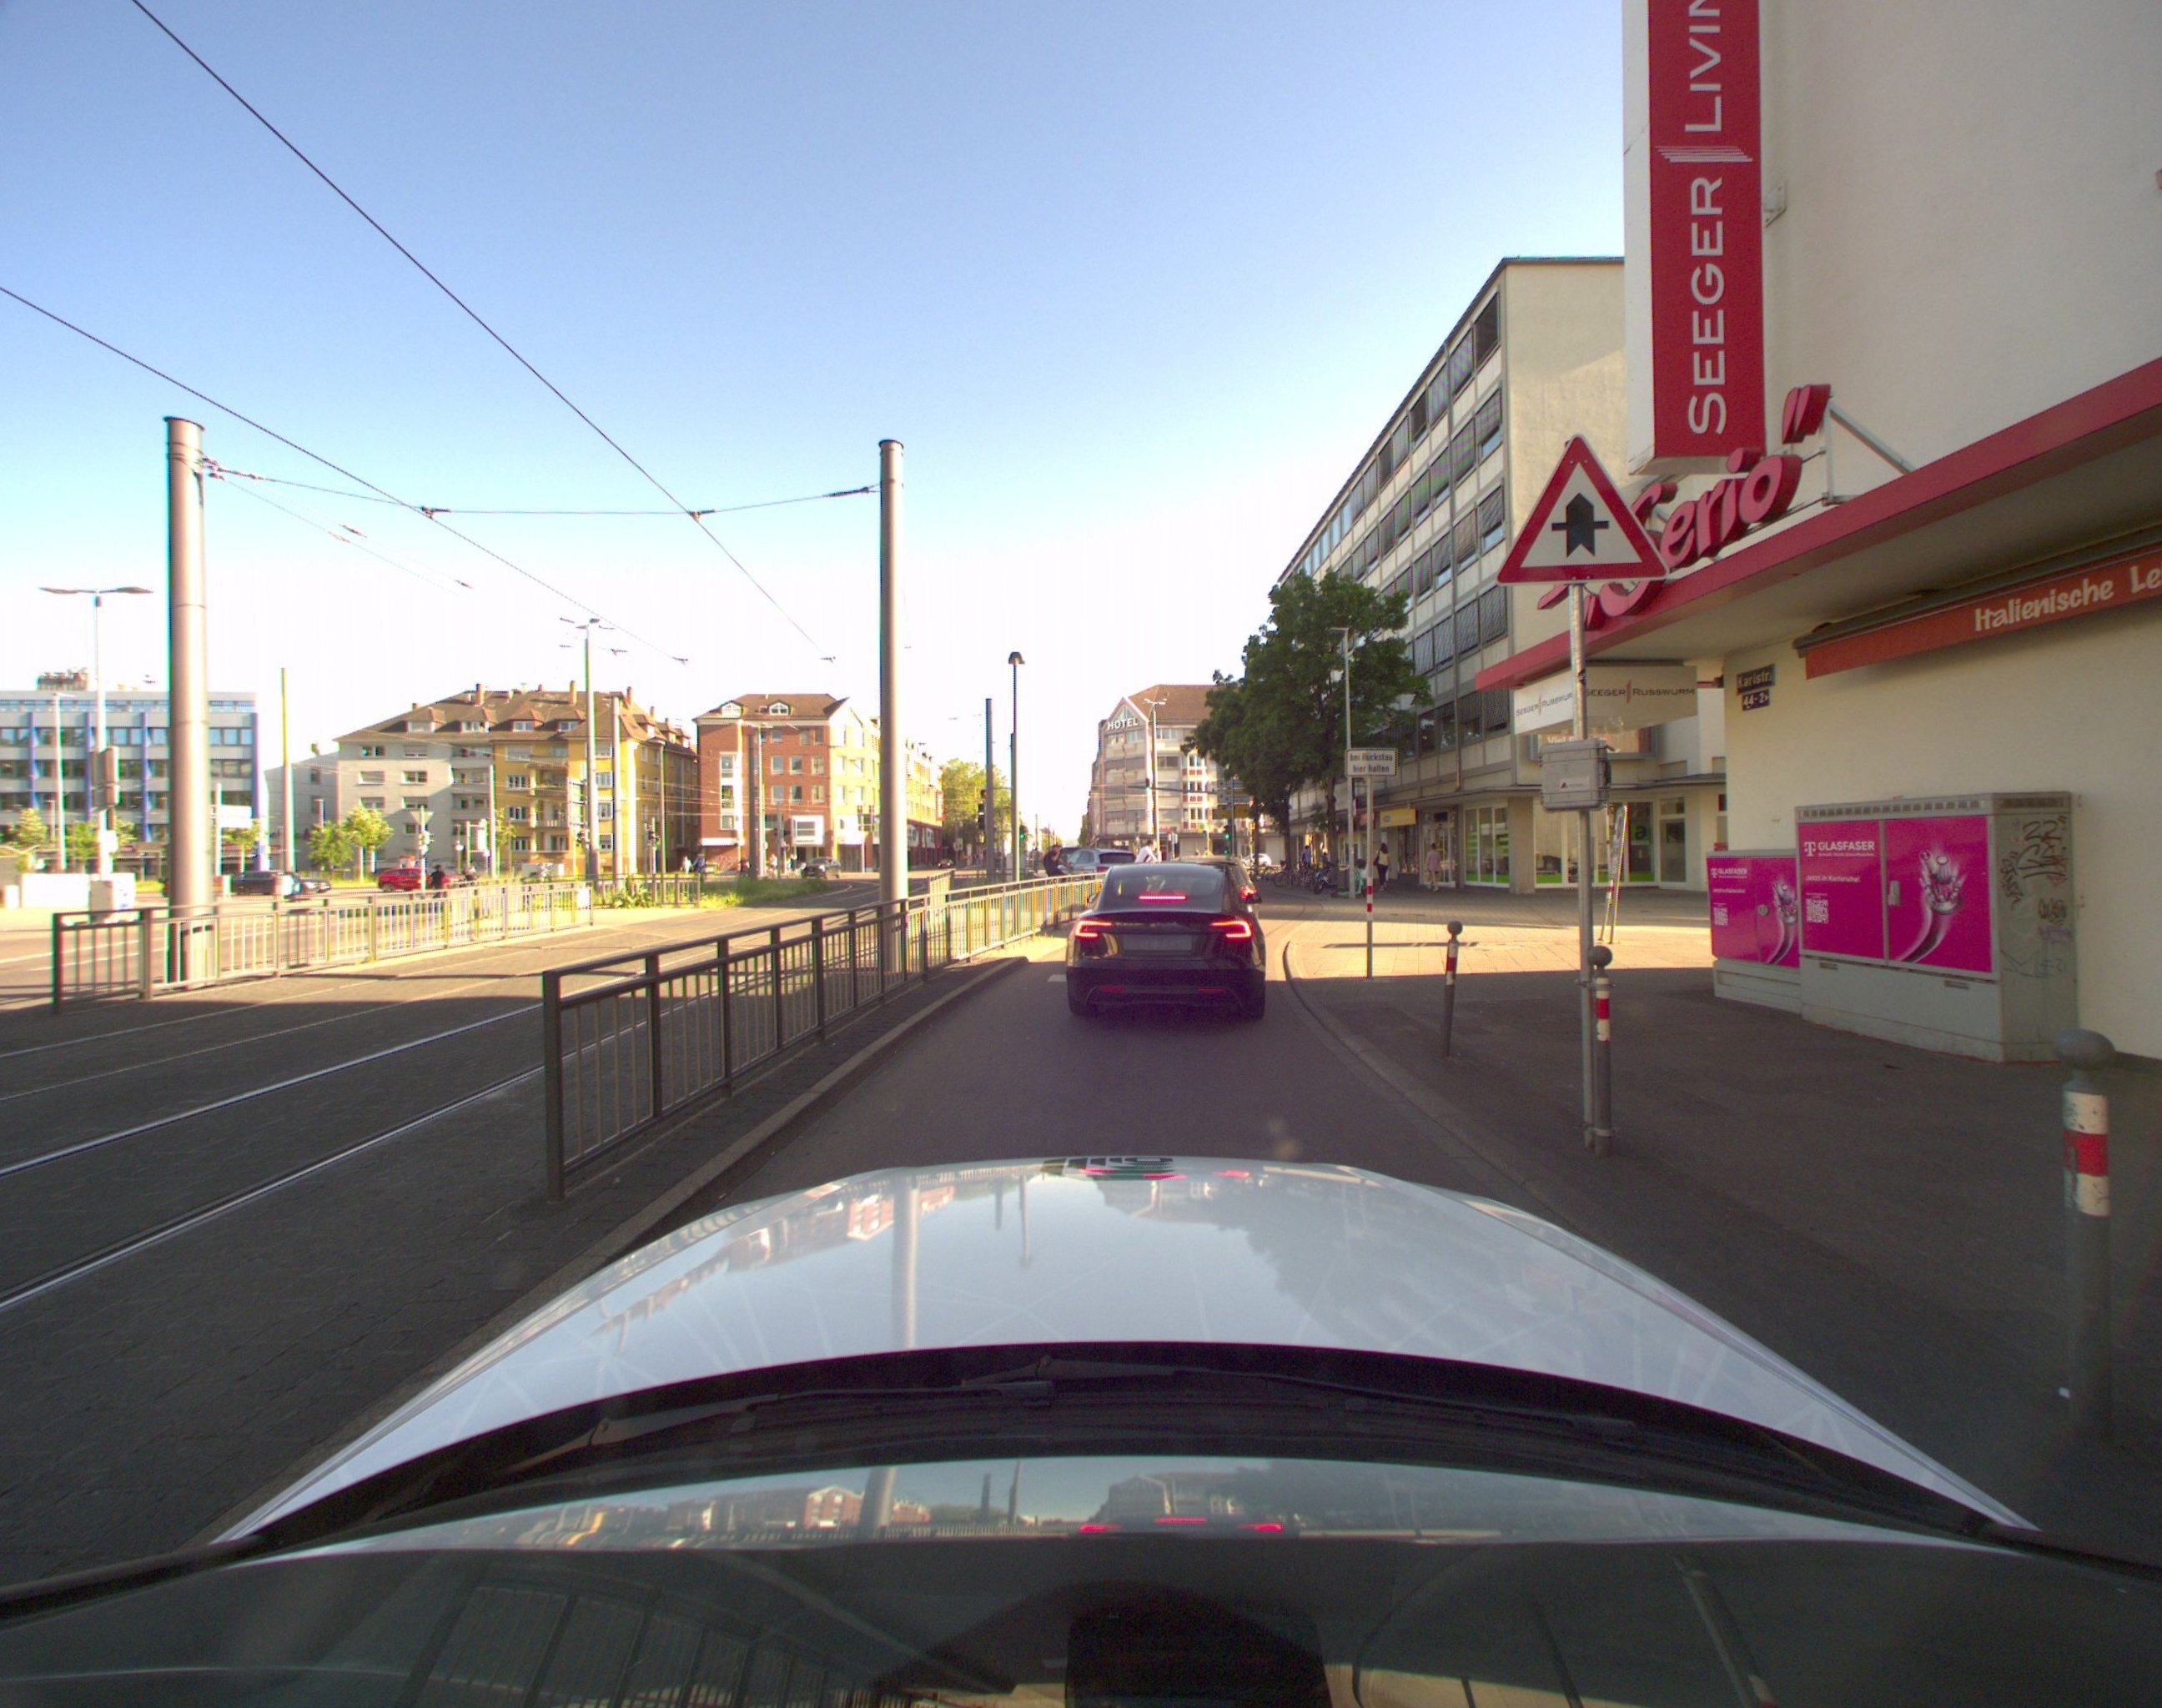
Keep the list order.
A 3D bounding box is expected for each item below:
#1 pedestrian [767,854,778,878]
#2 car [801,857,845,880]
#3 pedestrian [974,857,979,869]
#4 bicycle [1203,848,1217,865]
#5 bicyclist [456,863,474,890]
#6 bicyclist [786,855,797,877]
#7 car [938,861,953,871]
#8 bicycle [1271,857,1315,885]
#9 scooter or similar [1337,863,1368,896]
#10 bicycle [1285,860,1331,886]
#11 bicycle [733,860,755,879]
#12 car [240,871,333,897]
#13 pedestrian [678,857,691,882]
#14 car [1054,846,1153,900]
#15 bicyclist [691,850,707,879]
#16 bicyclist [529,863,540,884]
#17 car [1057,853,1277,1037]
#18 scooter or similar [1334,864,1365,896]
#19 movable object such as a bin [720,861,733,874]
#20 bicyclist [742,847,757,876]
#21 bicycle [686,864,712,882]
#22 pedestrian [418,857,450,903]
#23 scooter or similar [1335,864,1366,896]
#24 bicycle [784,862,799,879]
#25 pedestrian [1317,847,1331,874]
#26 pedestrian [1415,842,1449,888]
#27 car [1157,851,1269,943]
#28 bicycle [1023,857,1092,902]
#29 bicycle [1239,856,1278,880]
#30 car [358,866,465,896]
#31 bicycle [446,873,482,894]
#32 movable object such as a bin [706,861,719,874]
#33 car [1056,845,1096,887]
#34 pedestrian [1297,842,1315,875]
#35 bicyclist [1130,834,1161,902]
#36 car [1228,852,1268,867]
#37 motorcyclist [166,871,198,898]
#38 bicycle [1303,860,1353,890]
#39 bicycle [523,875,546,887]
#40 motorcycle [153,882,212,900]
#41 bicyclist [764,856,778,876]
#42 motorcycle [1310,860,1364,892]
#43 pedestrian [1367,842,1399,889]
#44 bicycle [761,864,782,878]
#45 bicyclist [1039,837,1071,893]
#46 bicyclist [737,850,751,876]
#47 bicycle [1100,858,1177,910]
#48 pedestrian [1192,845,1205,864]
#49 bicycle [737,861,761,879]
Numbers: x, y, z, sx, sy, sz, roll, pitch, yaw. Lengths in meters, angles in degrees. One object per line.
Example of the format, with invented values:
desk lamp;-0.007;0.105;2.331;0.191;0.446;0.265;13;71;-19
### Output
pedestrian;-25.922;1.021;68.457;0.592;2.014;0.831;0;-1;4
car;-18.155;0.974;57.396;1.678;1.560;4.124;0;-1;2
pedestrian;-14.062;1.218;109.720;0.584;1.531;0.634;0;-1;-15
bicycle;11.082;0.241;69.973;0.583;1.463;1.678;-1;0;-13
bicyclist;-34.740;1.269;45.952;0.615;1.493;0.607;0;-1;-12
bicyclist;-21.751;0.875;61.233;0.587;1.649;0.805;0;-1;-5
car;-20.503;1.780;123.307;1.814;1.454;3.971;-2;0;-4
bicycle;9.180;0.747;35.305;1.805;1.151;0.435;-1;-1;-3
scooter or similar;8.941;0.844;26.834;0.959;1.043;0.160;-1;0;4
bicycle;9.262;0.774;33.265;1.758;1.057;0.459;0;-1;6
bicycle;-21.492;0.997;52.003;0.527;1.214;1.887;0;-1;4
car;-46.444;1.733;47.664;3.695;1.472;1.572;0;-1;-6
pedestrian;-28.106;1.098;57.683;0.624;1.688;0.703;0;1;-11
car;0.655;0.586;26.351;1.848;1.635;3.457;0;-1;-25
bicyclist;-22.186;0.584;47.265;0.518;1.673;0.771;0;-1;3
bicyclist;-35.051;1.268;52.250;0.459;1.316;0.398;0;-1;-14
car;0.885;0.742;8.624;1.782;1.450;3.946;0;1;5
scooter or similar;8.970;0.869;27.232;0.959;1.027;0.160;-1;0;4
movable object such as a bin;-38.278;1.448;87.940;0.995;1.437;1.093;0;-1;-8
bicyclist;-19.520;0.439;47.916;0.522;1.673;0.771;0;-1;3
bicycle;-22.180;1.111;47.285;0.527;1.013;1.887;0;-1;4
pedestrian;-27.283;1.092;34.331;0.716;1.934;0.802;-1;-1;22
scooter or similar;8.956;0.858;27.032;0.952;1.039;0.160;-1;0;4
bicycle;-21.764;1.214;61.276;0.572;1.291;2.023;0;-1;-5
pedestrian;12.620;0.345;42.288;0.640;1.422;0.623;-1;-1;12
pedestrian;12.460;0.399;28.958;0.840;1.602;0.880;0;-1;1
car;2.355;0.678;15.213;1.755;1.444;4.537;0;0;7
bicycle;-0.635;0.690;22.481;1.831;1.212;0.635;0;-1;-29
bicycle;9.242;0.749;42.381;1.882;1.156;0.480;-2;-1;2
car;-39.560;1.578;48.235;4.548;1.509;1.777;-2;0;-9
bicycle;-34.797;1.661;45.933;1.497;1.133;0.609;-1;-1;-13
movable object such as a bin;-39.703;1.464;87.735;0.995;1.437;1.093;0;-1;-8
car;-0.208;0.488;34.090;1.568;1.618;3.782;0;-1;0
pedestrian;11.792;0.248;42.657;0.837;1.721;0.883;-1;-1;13
bicyclist;1.557;0.338;19.724;0.679;1.631;0.578;0;-1;-1
car;17.643;0.586;86.142;3.832;1.432;1.801;-1;-2;-4
motorcyclist;-51.764;1.747;46.905;0.919;1.524;0.781;0;-1;-5
bicycle;9.473;0.797;31.239;1.850;1.056;0.398;-2;0;-10
bicycle;-35.069;1.723;52.223;1.174;0.764;0.318;0;-1;-15
motorcycle;-51.744;2.098;46.907;2.355;0.984;0.790;0;-1;-6
bicyclist;-22.171;0.858;58.213;0.661;1.454;0.731;0;-1;3
motorcycle;9.164;0.779;29.169;1.781;1.130;0.504;0;-1;-1
pedestrian;11.181;0.406;30.155;0.840;1.707;0.880;0;-1;1
bicycle;-22.161;1.222;58.361;0.647;1.013;1.887;0;-1;4
bicyclist;-0.723;0.306;22.441;0.685;1.523;0.629;0;-1;-29
bicyclist;-21.495;0.562;51.950;0.518;1.673;0.771;0;-1;3
bicycle;1.387;0.717;19.717;1.815;1.212;0.582;0;-1;-1
pedestrian;10.092;0.021;70.002;0.780;1.576;0.864;0;1;-13
bicycle;-19.519;0.929;47.913;0.527;1.013;1.899;0;-1;4
